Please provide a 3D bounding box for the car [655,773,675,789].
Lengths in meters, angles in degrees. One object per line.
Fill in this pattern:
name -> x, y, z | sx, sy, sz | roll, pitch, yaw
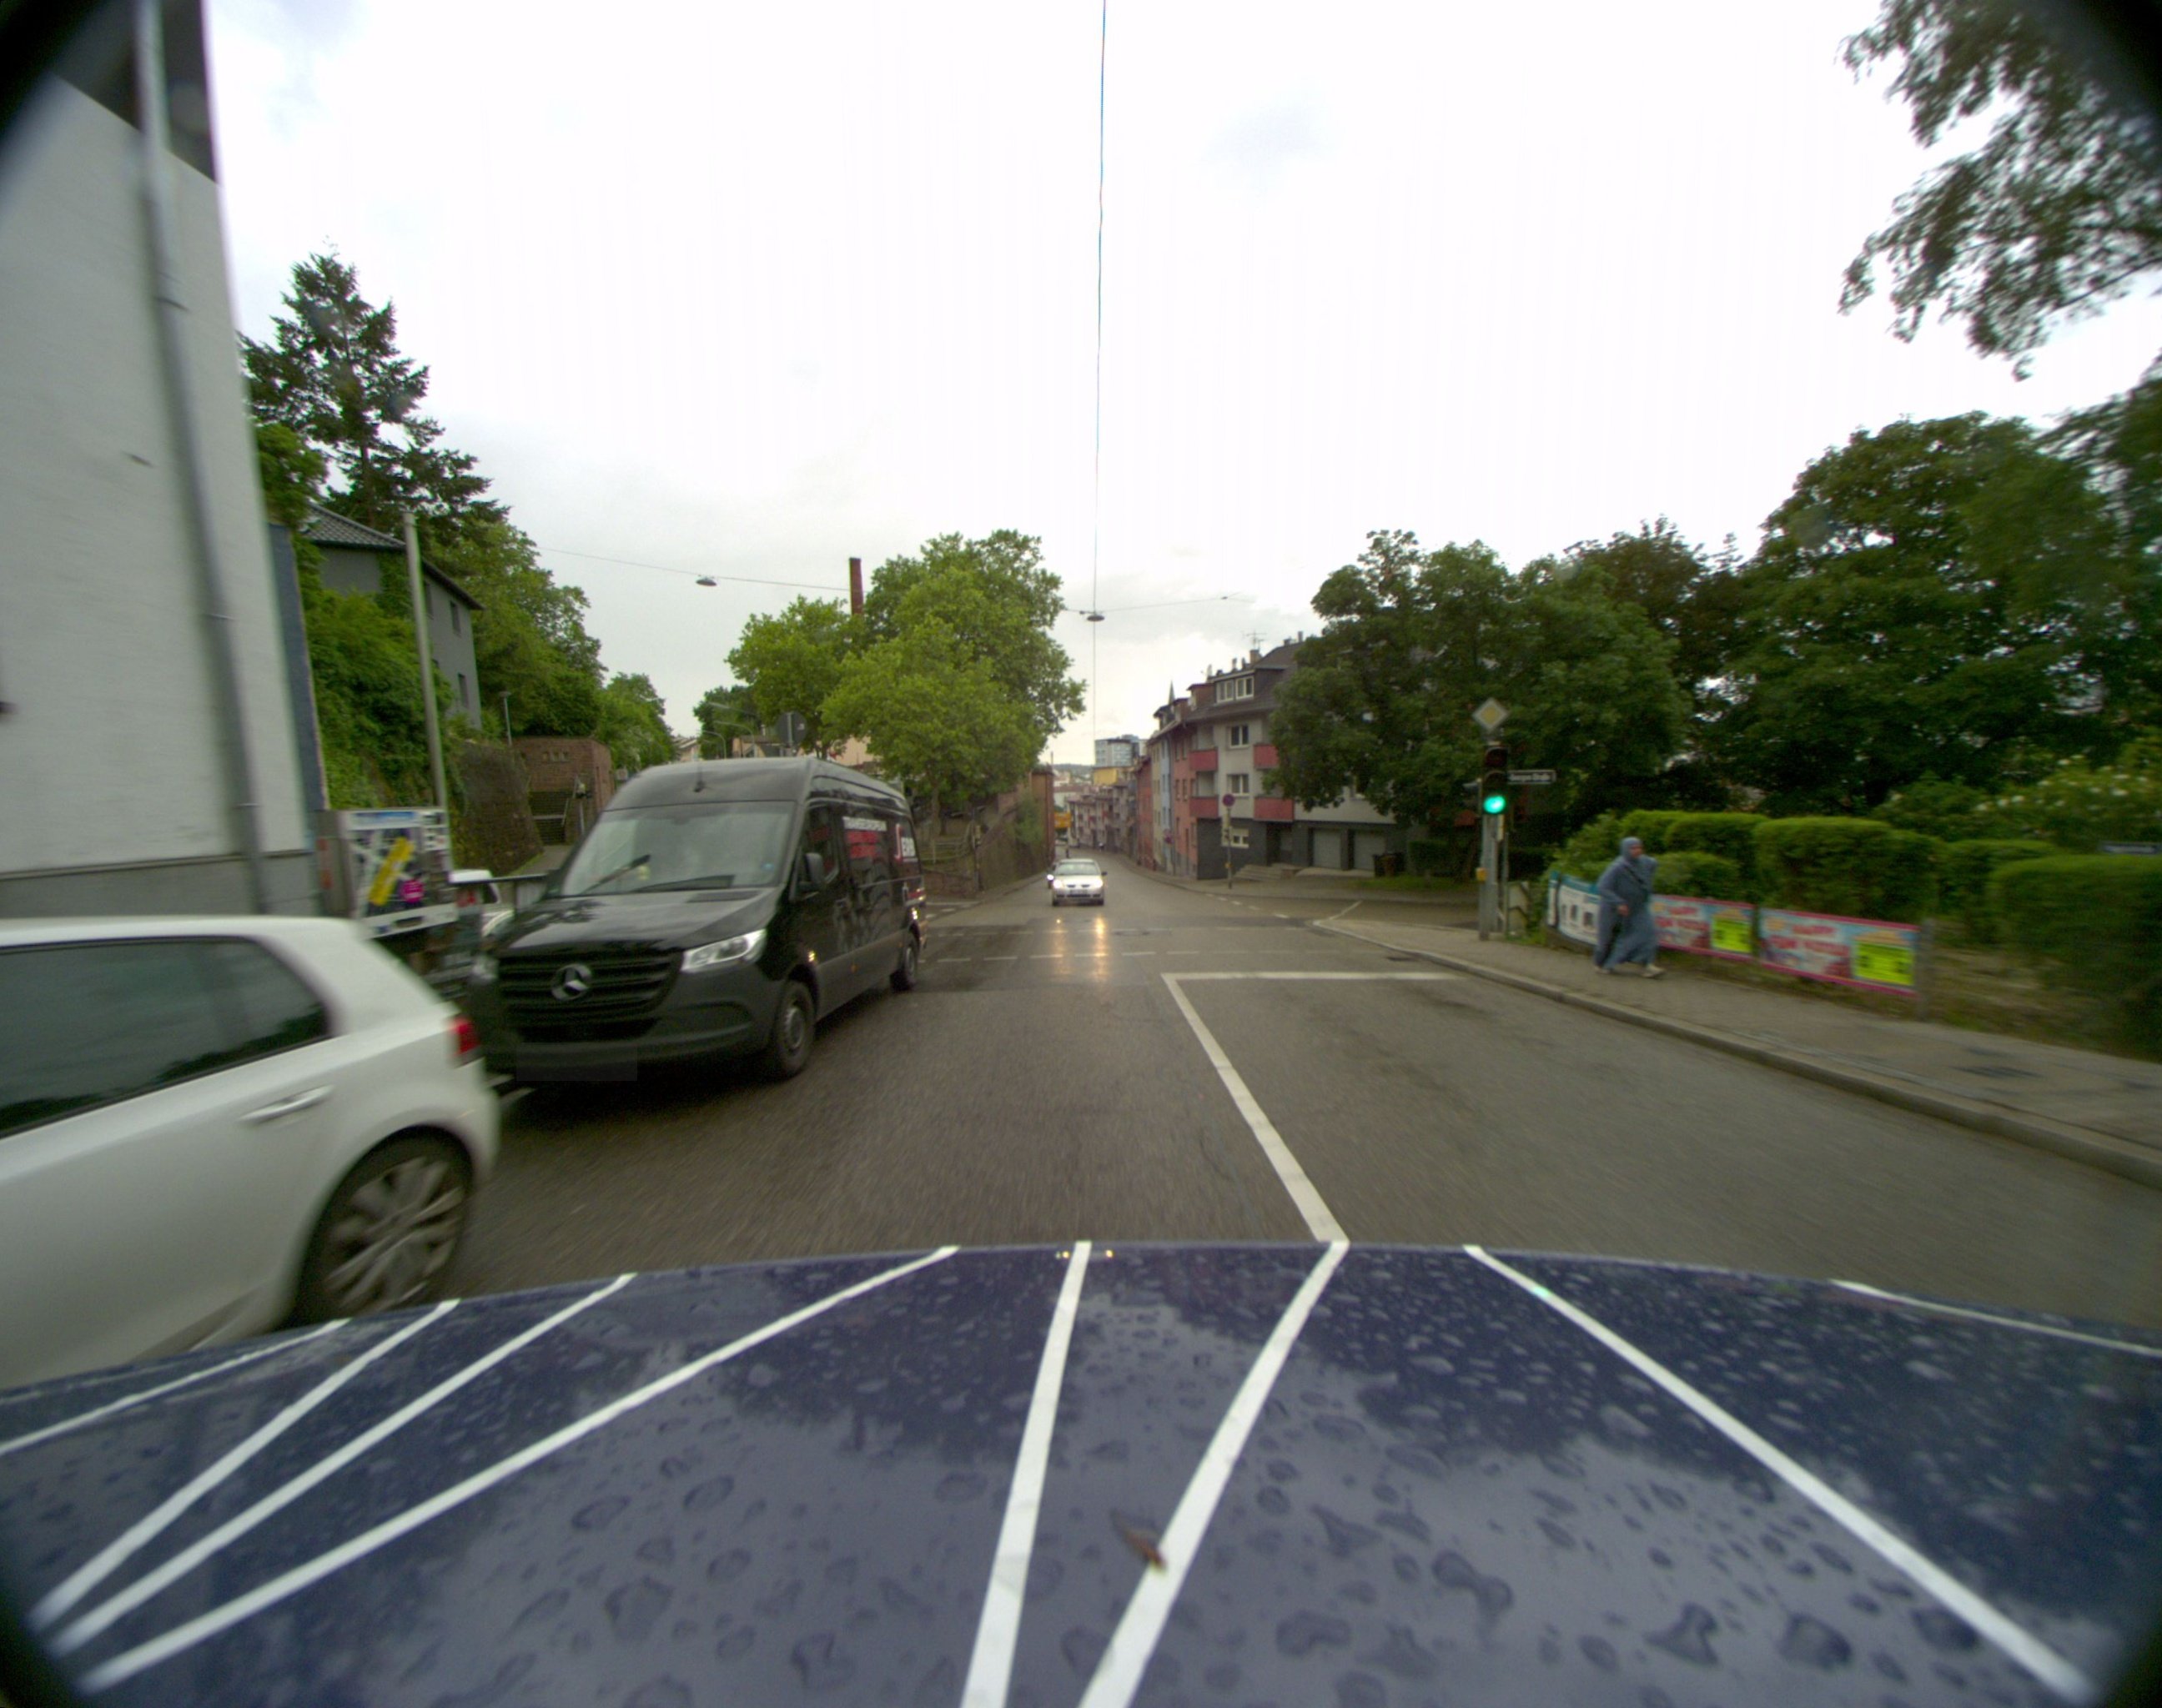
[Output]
car -> -49.099, -8.636, 89.692 | 1.736, 1.633, 3.986 | -5, 11, -25

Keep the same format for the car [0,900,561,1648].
car -> -3.375, 1.016, 1.204 | 1.998, 1.503, 4.337 | -3, 0, 1

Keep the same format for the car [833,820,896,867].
car -> -9.631, -0.532, 34.148 | 1.635, 1.486, 4.339 | -3, 9, -2

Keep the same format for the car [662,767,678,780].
car -> -61.021, -11.967, 112.807 | 1.736, 1.633, 3.986 | -5, 11, -25

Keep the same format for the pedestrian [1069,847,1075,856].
pedestrian -> -1.497, -0.377, 127.746 | 0.871, 1.532, 1.087 | -3, -1, -2

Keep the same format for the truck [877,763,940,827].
truck -> -11.441, -4.214, 51.406 | 2.756, 3.296, 11.203 | 0, 10, -6

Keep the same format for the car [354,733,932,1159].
car -> -3.103, 0.457, 7.341 | 1.998, 2.400, 5.834 | -3, 2, 1

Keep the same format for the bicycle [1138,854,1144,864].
bicycle -> 7.771, 0.636, 98.378 | 0.572, 1.110, 2.039 | -4, 1, 1

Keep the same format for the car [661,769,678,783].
car -> -55.609, -10.601, 102.658 | 1.736, 1.633, 3.986 | -5, 11, -25

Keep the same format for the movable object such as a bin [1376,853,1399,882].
movable object such as a bin -> 13.202, 0.560, 32.757 | 0.562, 1.193, 0.687 | -4, 3, -25

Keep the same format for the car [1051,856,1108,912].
car -> -0.045, 0.942, 25.650 | 1.720, 1.527, 3.998 | -3, 2, 0

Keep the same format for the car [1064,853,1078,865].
car -> -1.300, 0.631, 99.806 | 1.637, 1.521, 4.000 | -3, 0, 0

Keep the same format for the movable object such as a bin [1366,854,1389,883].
movable object such as a bin -> 12.681, 0.594, 32.487 | 0.562, 1.193, 0.687 | -4, 3, -25

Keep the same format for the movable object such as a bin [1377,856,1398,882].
movable object such as a bin -> 12.870, 0.625, 31.875 | 0.630, 1.010, 0.499 | -4, 3, -25

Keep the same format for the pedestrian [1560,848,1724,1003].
pedestrian -> 6.051, 0.743, 8.277 | 0.871, 1.531, 1.087 | -3, -2, -2

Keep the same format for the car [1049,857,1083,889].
car -> -0.847, 1.082, 44.309 | 1.719, 1.527, 3.999 | -3, 2, 2

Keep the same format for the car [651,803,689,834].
car -> -25.309, -2.217, 46.870 | 1.827, 1.512, 3.986 | -4, 9, -26
